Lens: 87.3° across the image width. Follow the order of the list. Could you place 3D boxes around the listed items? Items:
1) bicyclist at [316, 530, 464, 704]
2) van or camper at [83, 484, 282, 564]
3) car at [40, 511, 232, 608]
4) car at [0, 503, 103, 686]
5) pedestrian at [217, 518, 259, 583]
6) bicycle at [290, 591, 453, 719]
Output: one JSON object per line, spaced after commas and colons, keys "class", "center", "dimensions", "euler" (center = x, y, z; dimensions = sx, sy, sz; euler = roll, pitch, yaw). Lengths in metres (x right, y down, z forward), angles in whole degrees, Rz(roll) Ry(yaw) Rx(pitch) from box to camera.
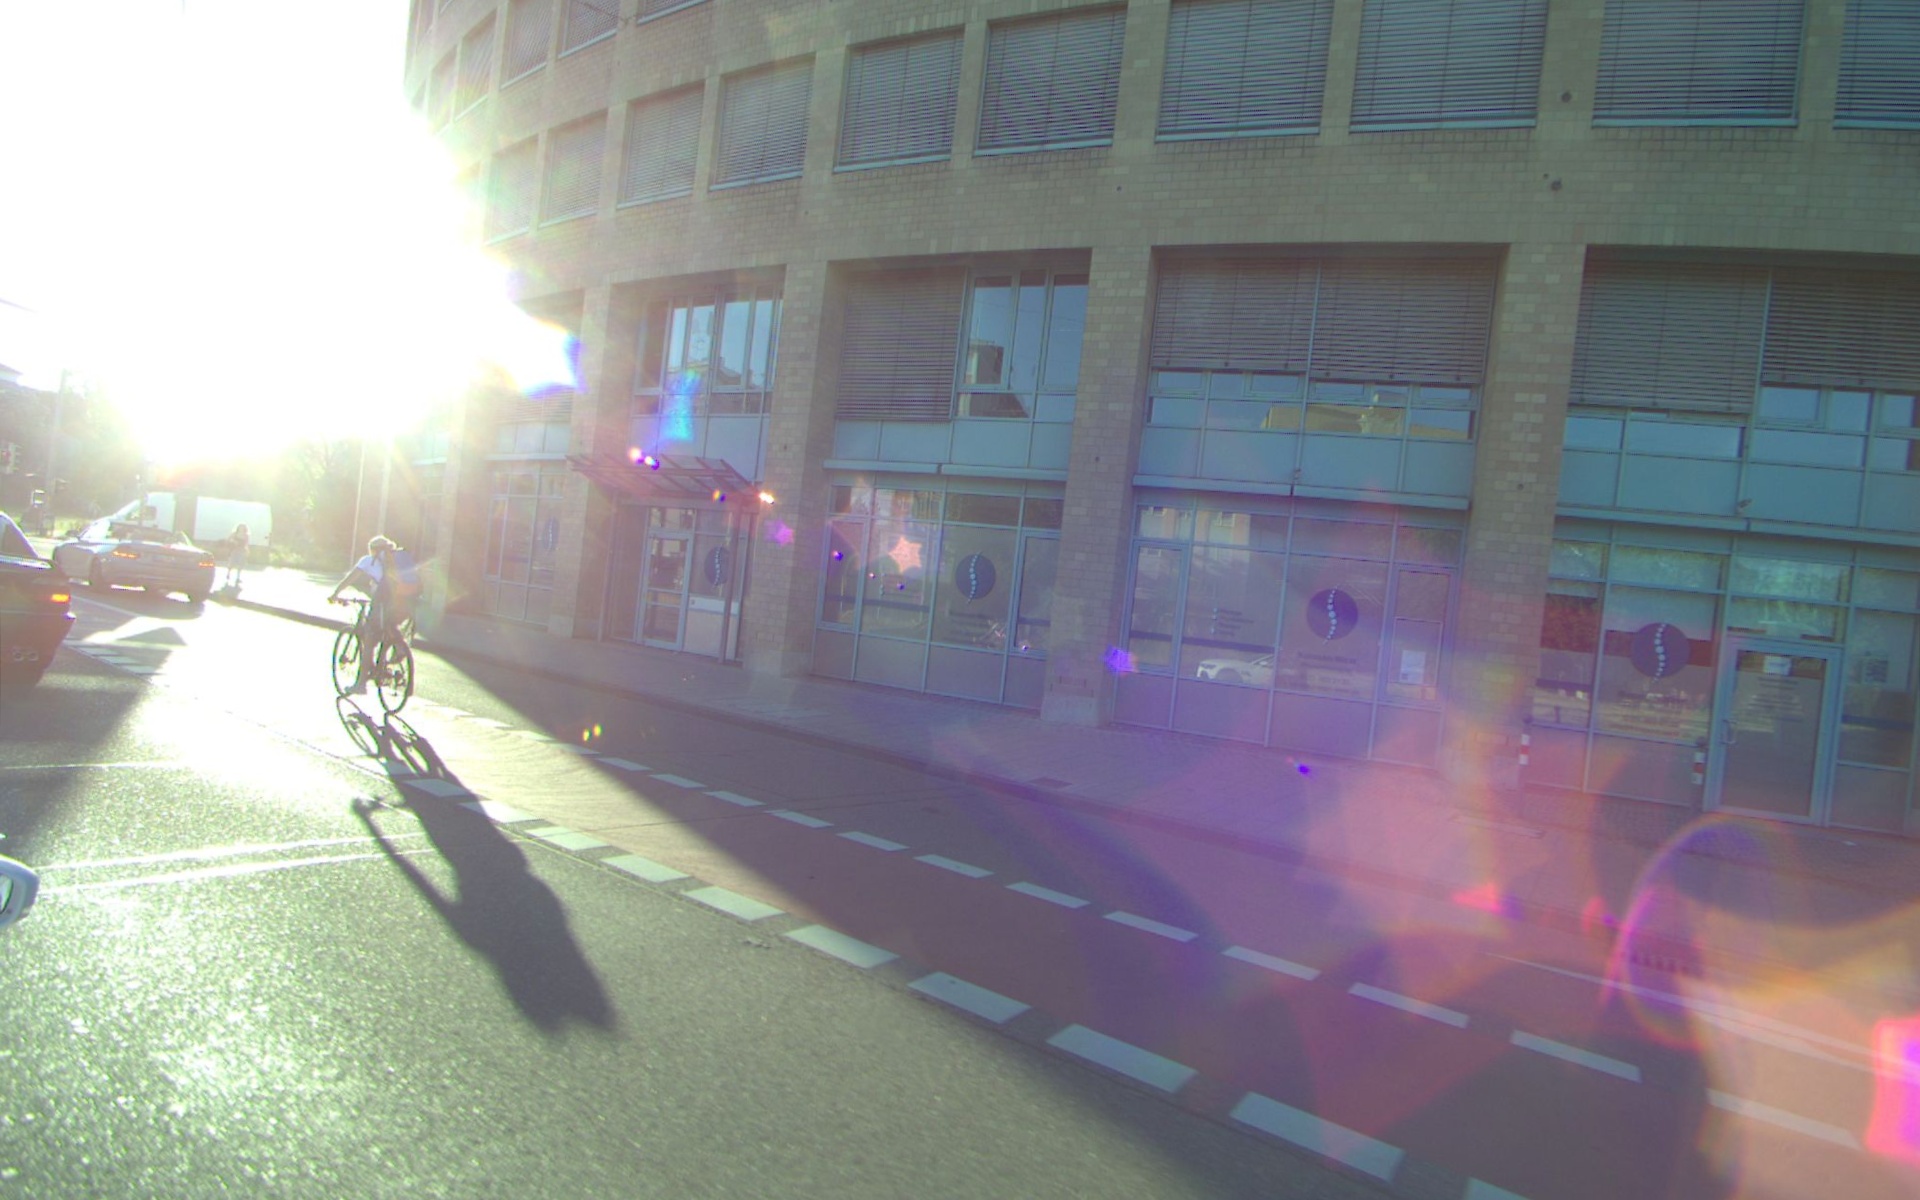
{"class": "bicyclist", "center": [-5.388, 0.159, 9.506], "dimensions": [1.021, 1.500, 0.656], "euler": [6, -2, 33]}
{"class": "van or camper", "center": [-37.400, -3.593, 48.662], "dimensions": [2.558, 2.707, 7.041], "euler": [8, 0, 37]}
{"class": "car", "center": [-16.508, -0.834, 20.102], "dimensions": [4.198, 1.370, 1.785], "euler": [7, -1, 34]}
{"class": "car", "center": [-9.504, -0.295, 8.835], "dimensions": [4.567, 1.370, 1.832], "euler": [7, -1, 35]}
{"class": "pedestrian", "center": [-19.053, -1.308, 26.539], "dimensions": [0.674, 1.589, 0.790], "euler": [6, 2, -43]}
{"class": "bicycle", "center": [-5.638, 0.506, 9.597], "dimensions": [1.746, 0.966, 0.516], "euler": [7, -1, 33]}
